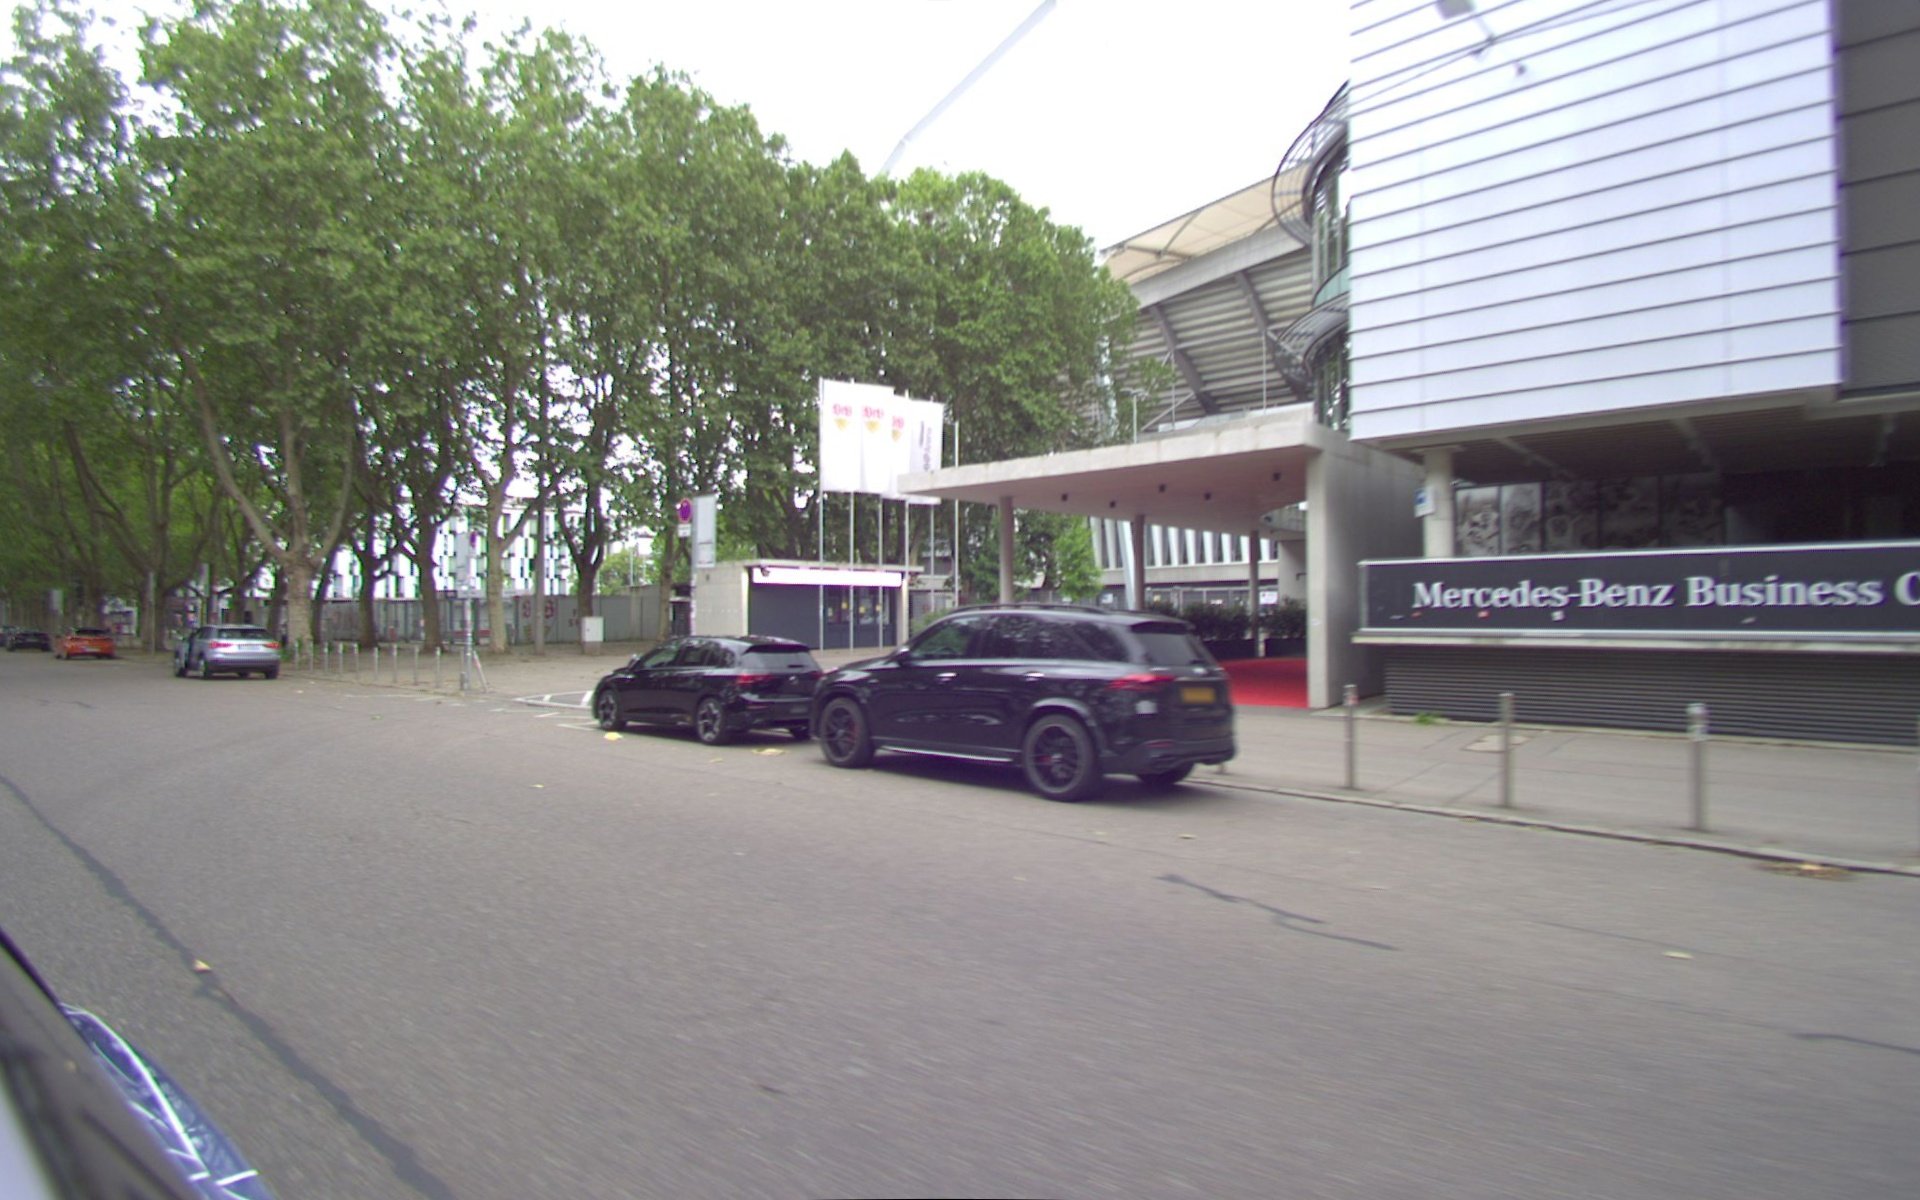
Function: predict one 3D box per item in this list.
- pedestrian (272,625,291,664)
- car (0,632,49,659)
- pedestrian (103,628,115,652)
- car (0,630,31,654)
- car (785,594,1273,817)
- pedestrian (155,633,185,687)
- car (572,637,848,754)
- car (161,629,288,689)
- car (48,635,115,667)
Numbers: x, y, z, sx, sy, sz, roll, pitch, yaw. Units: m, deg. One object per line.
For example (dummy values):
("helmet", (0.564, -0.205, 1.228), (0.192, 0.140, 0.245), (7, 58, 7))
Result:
("pedestrian", (-29.061, 1.901, 43.332), (0.585, 1.632, 0.793), (0, -2, -39))
("car", (-52.964, 2.551, 57.192), (4.628, 1.477, 1.806), (-2, -3, 44))
("pedestrian", (-61.876, 2.907, 73.571), (0.567, 1.755, 0.769), (0, -2, -34))
("car", (-61.267, 2.705, 65.060), (4.149, 1.538, 1.858), (-2, -3, 42))
("car", (0.517, 0.979, 10.605), (4.906, 1.803, 2.013), (-2, -5, 42))
("pedestrian", (-22.211, 1.668, 28.445), (0.567, 1.477, 0.577), (-2, -1, 45))
("car", (-3.688, 1.281, 14.496), (4.323, 1.430, 1.686), (-2, -5, 42))
("car", (-21.432, 1.674, 29.429), (4.754, 1.575, 2.051), (-2, -2, 42))
("car", (-39.308, 2.260, 45.253), (3.999, 1.364, 1.789), (-2, -2, 42))
